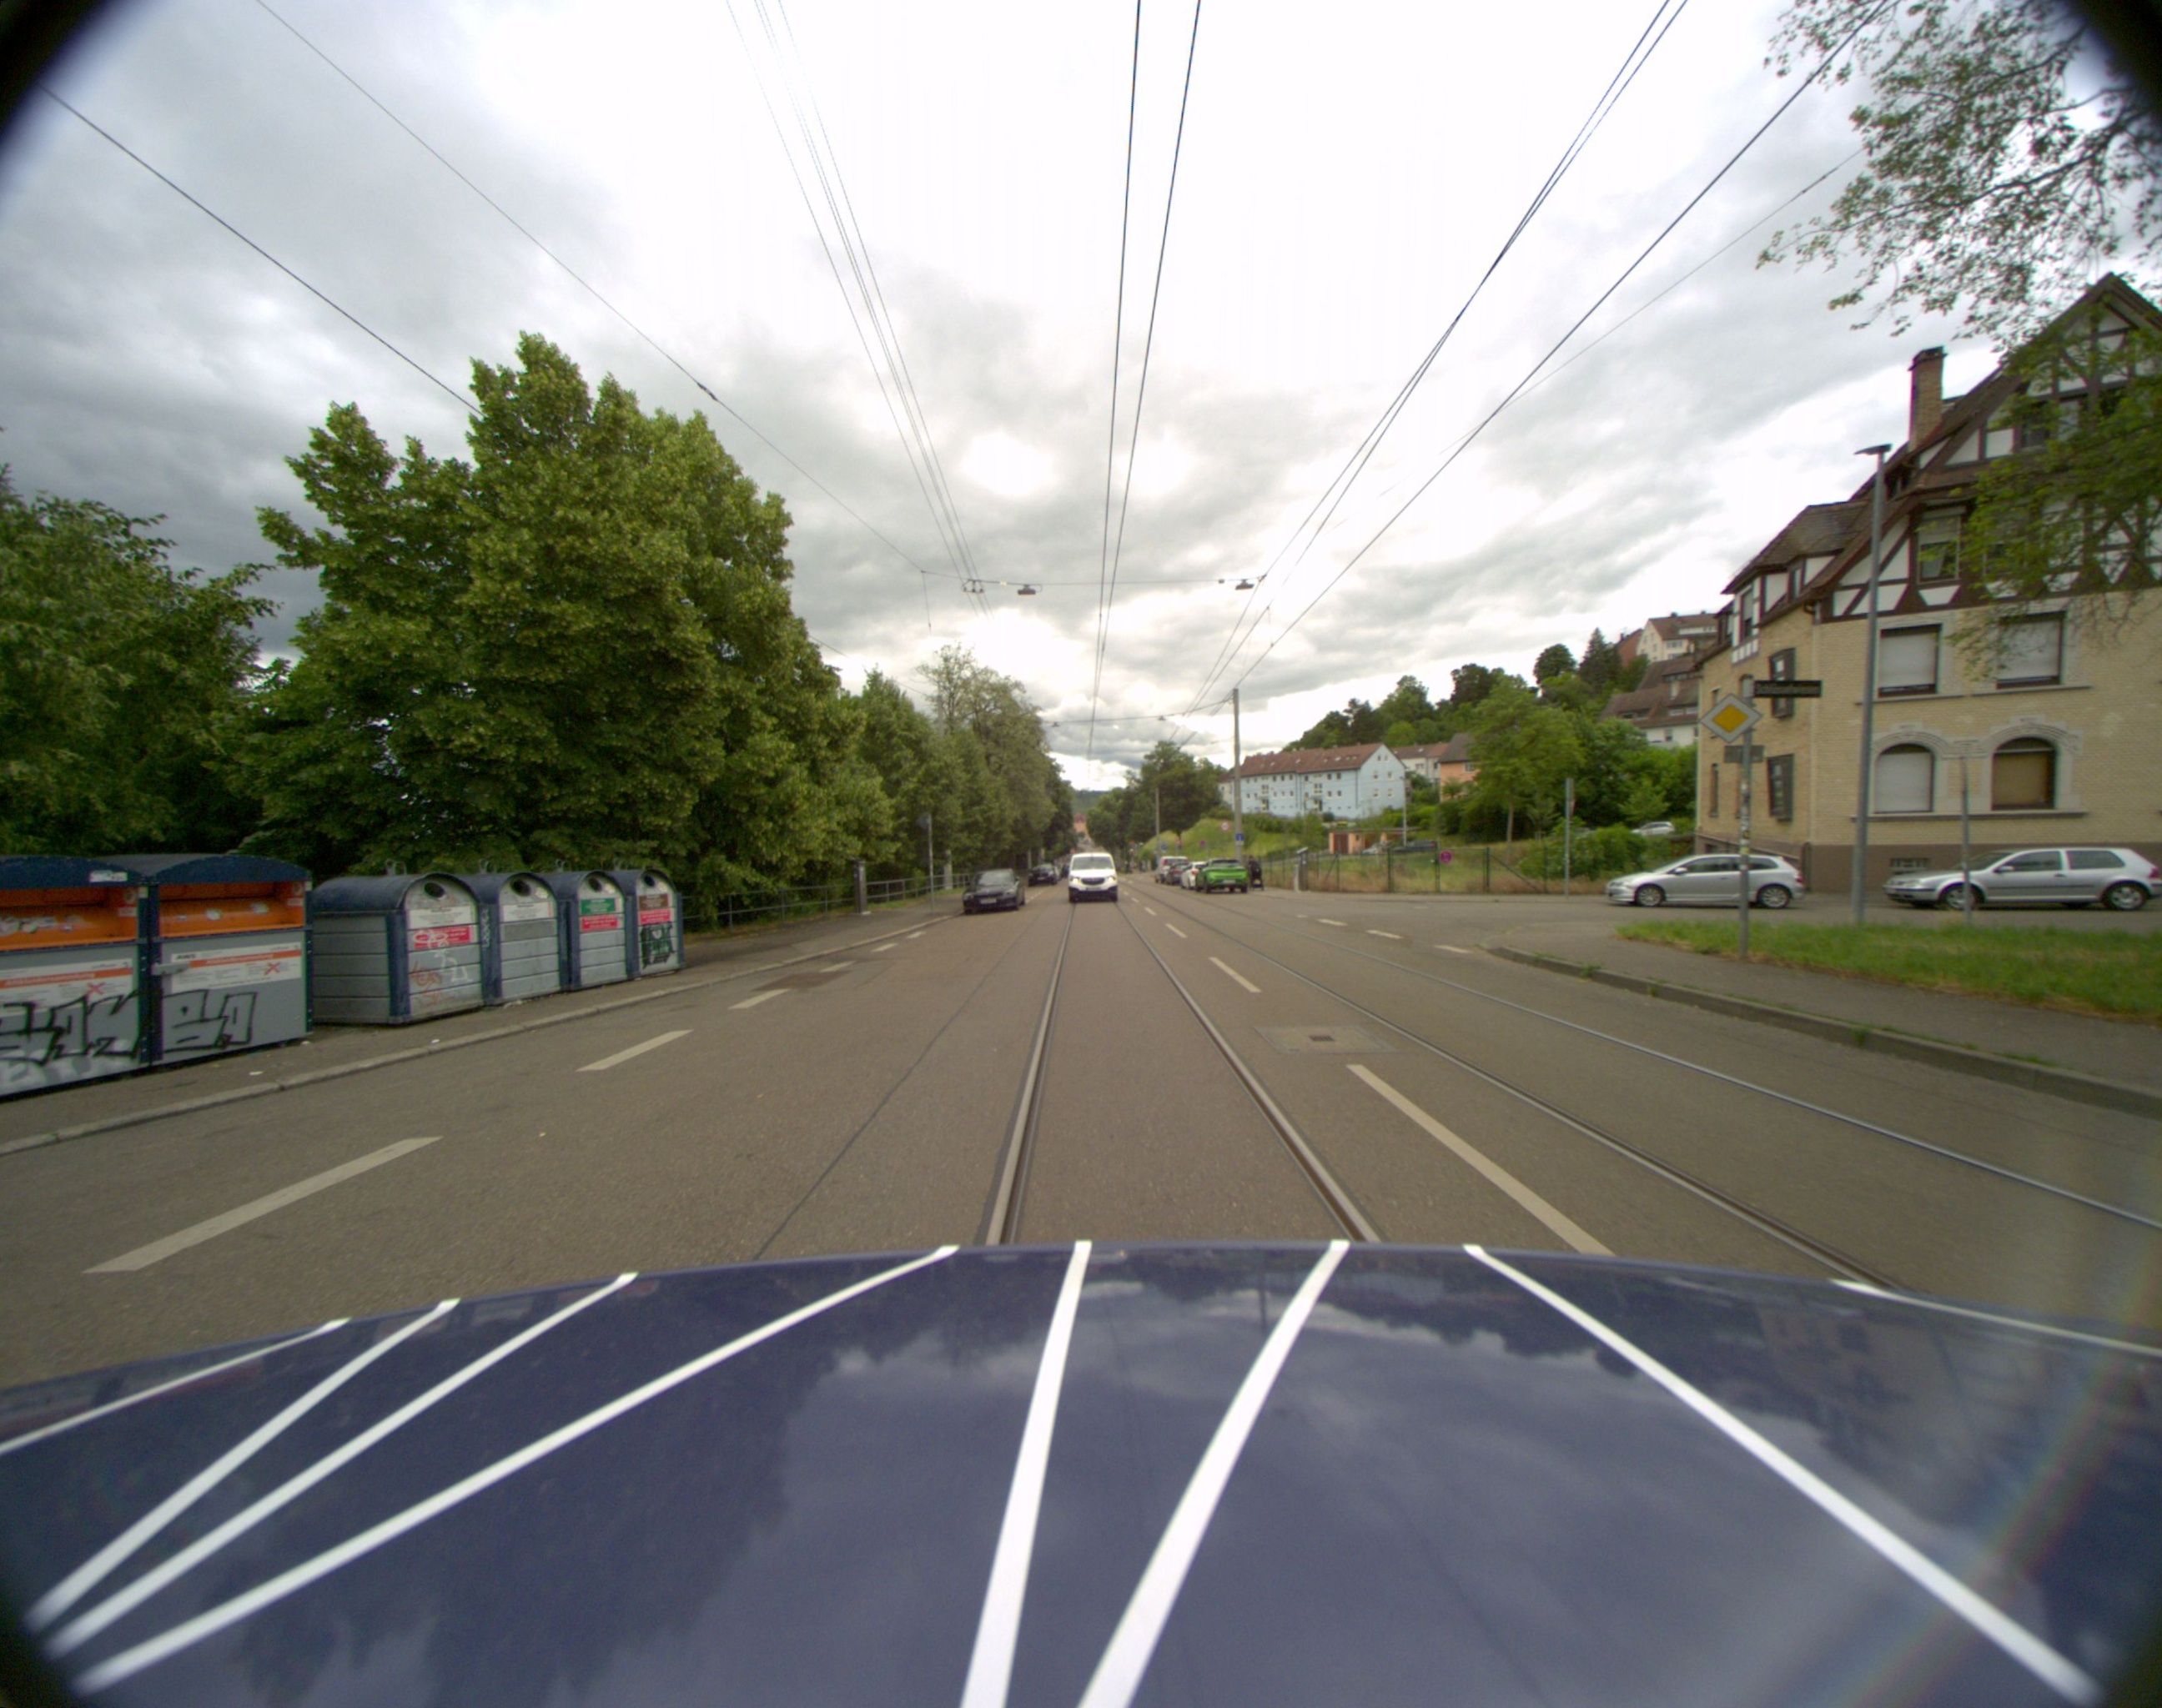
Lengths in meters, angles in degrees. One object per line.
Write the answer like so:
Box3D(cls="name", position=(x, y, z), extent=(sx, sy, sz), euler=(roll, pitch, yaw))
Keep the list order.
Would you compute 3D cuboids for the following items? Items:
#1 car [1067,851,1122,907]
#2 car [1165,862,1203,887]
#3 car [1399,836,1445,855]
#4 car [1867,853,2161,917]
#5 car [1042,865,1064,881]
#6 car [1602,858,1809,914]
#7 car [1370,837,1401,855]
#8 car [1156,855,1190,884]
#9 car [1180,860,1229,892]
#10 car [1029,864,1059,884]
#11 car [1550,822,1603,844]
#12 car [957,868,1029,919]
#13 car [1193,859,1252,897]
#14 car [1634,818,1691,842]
Box3D(cls="car", position=(0.523, 0.859, 27.680), extent=(1.759, 1.824, 4.448), euler=(-2, 0, 2))
Box3D(cls="car", position=(6.409, 1.254, 47.626), extent=(1.856, 1.485, 3.948), euler=(1, 0, 0))
Box3D(cls="car", position=(36.325, -0.907, 80.949), extent=(3.989, 1.892, 2.004), euler=(-2, 0, 39))
Box3D(cls="car", position=(21.618, 0.694, 17.849), extent=(4.039, 1.369, 1.698), euler=(-1, 0, 25))
Box3D(cls="car", position=(-2.692, 1.845, 74.067), extent=(1.822, 1.344, 3.941), euler=(-3, -1, 2))
Box3D(cls="car", position=(16.580, 0.830, 20.440), extent=(4.004, 1.369, 1.698), euler=(-1, 0, 24))
Box3D(cls="car", position=(33.928, -0.891, 84.615), extent=(1.994, 1.892, 4.008), euler=(-2, 0, 40))
Box3D(cls="car", position=(6.343, 1.042, 52.872), extent=(1.901, 1.935, 4.291), euler=(1, 0, 0))
Box3D(cls="car", position=(6.288, 1.090, 39.037), extent=(1.856, 1.485, 3.948), euler=(1, 0, 0))
Box3D(cls="car", position=(-2.714, 1.441, 56.769), extent=(1.822, 1.344, 3.941), euler=(-3, -1, 2))
Box3D(cls="car", position=(47.208, -1.937, 72.369), extent=(3.989, 1.892, 2.004), euler=(-2, 0, 39))
Box3D(cls="car", position=(-2.981, 1.323, 26.716), extent=(1.863, 1.434, 4.388), euler=(-5, 0, 1))
Box3D(cls="car", position=(6.147, 1.003, 33.426), extent=(1.856, 1.531, 3.948), euler=(-2, -1, 0))
Box3D(cls="car", position=(52.387, -2.126, 68.485), extent=(3.989, 1.892, 2.004), euler=(-2, 0, 39))
